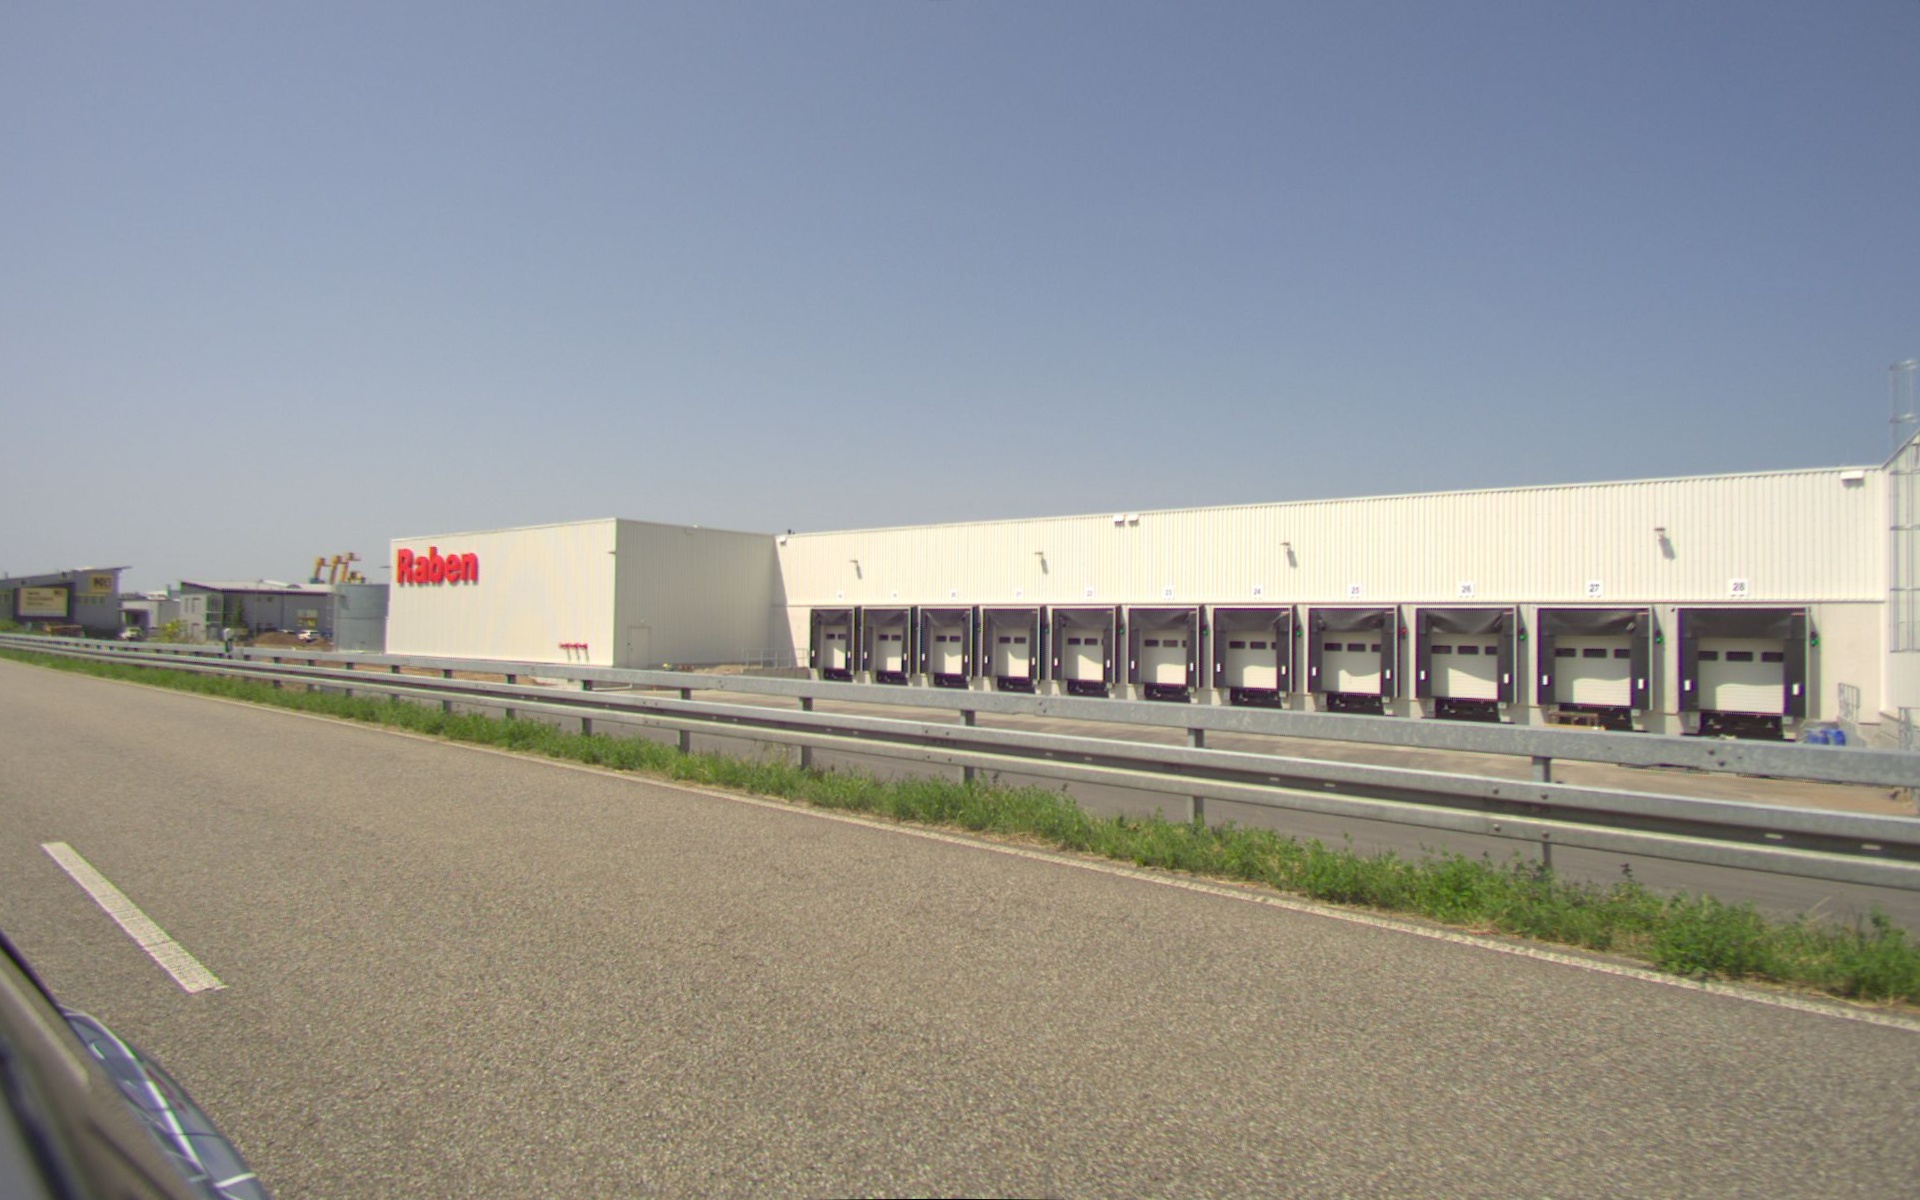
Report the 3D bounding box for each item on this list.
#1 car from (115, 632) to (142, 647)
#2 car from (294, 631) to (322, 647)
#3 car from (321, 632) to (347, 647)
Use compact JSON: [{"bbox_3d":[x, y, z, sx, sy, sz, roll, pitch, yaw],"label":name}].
[{"bbox_3d":[-95.650,4.557,116.406,3.305,1.686,1.537,-1,-3,36],"label":"car"},{"bbox_3d":[-84.338,4.999,130.919,3.996,2.029,1.973,-1,-2,40],"label":"car"},{"bbox_3d":[-82.795,5.271,133.844,3.687,1.915,1.810,-1,-5,41],"label":"car"}]
